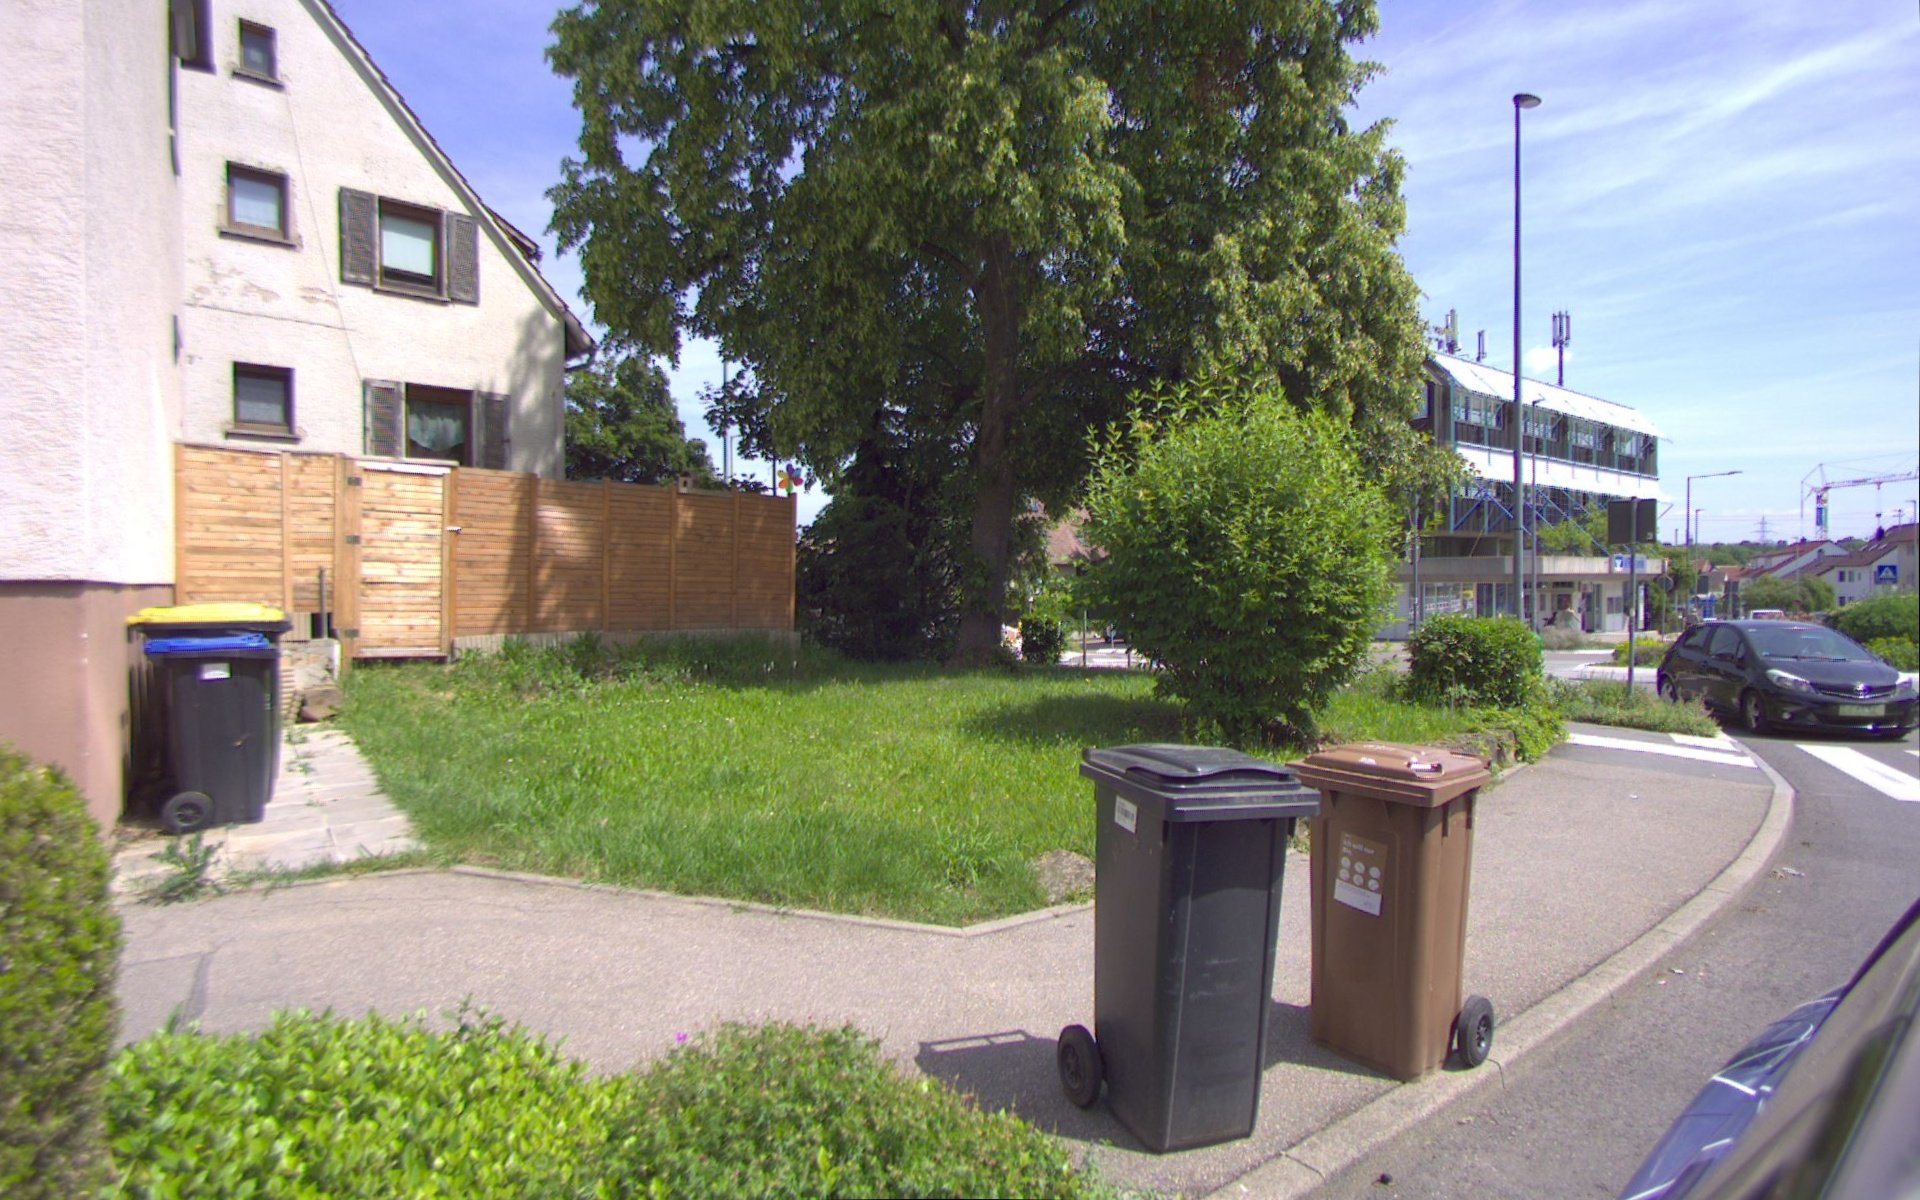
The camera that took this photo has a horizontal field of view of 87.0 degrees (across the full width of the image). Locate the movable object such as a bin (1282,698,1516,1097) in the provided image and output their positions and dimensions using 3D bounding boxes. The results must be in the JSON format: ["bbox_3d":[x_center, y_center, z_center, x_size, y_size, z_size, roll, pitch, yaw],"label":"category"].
[{"bbox_3d":[1.333,0.833,3.078,0.495,1.006,0.501,1,-1,-42],"label":"movable object such as a bin"}]

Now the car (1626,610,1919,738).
[{"bbox_3d":[11.420,0.910,14.333,1.699,1.475,4.416,-1,0,10],"label":"car"}]

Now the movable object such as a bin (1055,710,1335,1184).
[{"bbox_3d":[0.589,0.823,2.630,0.491,1.006,0.527,1,-1,-20],"label":"movable object such as a bin"}]
